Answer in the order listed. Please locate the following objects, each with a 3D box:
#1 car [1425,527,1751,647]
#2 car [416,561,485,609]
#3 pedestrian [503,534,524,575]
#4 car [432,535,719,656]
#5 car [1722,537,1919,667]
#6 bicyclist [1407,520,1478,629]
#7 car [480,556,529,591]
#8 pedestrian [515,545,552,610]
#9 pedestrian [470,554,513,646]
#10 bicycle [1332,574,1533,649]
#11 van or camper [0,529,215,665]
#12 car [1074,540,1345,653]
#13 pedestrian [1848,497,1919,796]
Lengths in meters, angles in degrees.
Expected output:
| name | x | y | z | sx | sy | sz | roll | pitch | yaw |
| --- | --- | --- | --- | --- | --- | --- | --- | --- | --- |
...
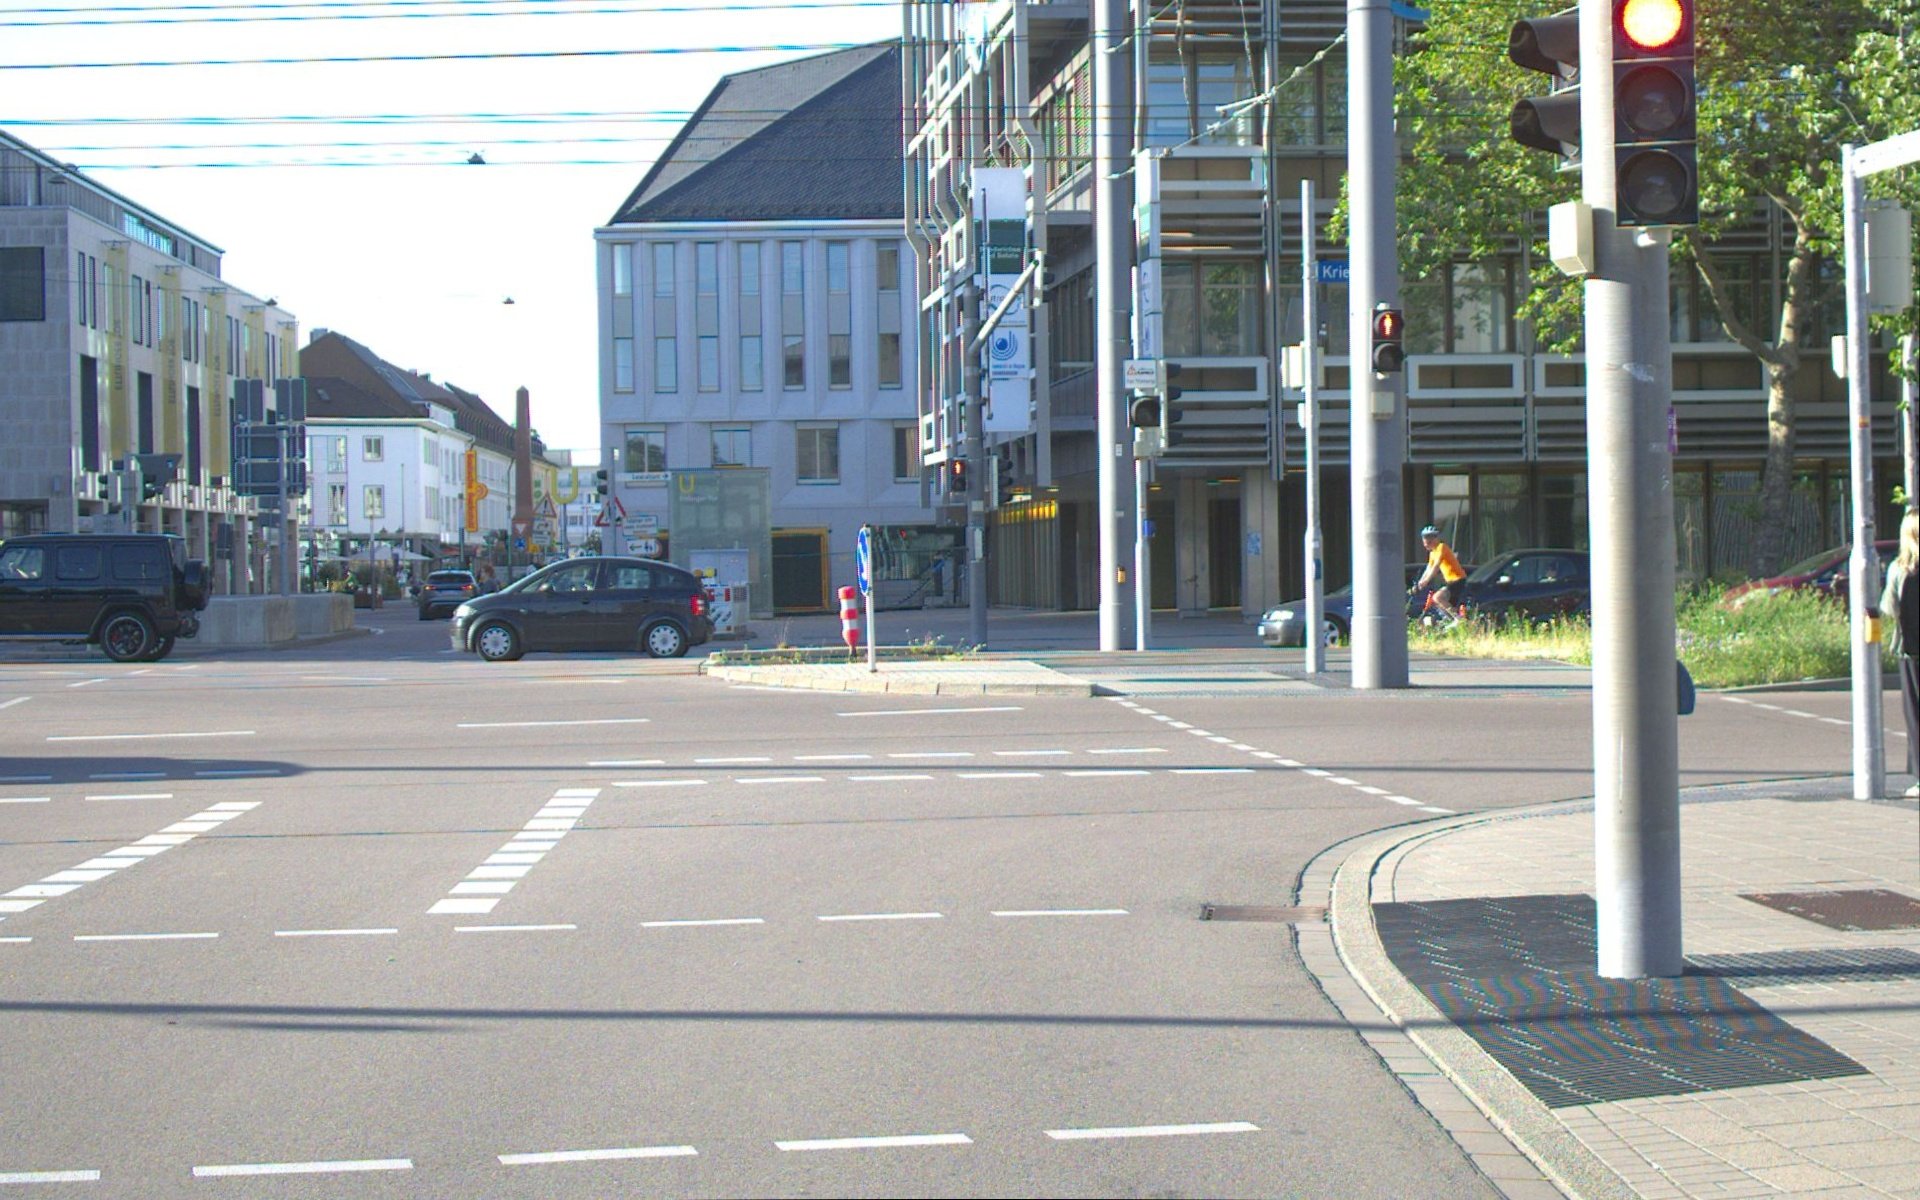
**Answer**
| name | x | y | z | sx | sy | sz | roll | pitch | yaw |
| --- | --- | --- | --- | --- | --- | --- | --- | --- | --- |
| car | 9.213 | -0.205 | 50.617 | 4.403 | 1.678 | 1.826 | -1 | 1 | -3 |
| car | -16.011 | -0.484 | 108.073 | 1.658 | 1.453 | 3.542 | -1 | 1 | -1 |
| pedestrian | -21.383 | -2.162 | 164.680 | 0.910 | 1.958 | 0.823 | 1 | 0 | -1 |
| car | -5.537 | -0.085 | 49.851 | 3.986 | 1.678 | 1.761 | -1 | 1 | -1 |
| car | 12.695 | -0.003 | 46.465 | 4.287 | 1.678 | 1.826 | -1 | 1 | -10 |
| bicyclist | 6.613 | -0.356 | 47.119 | 0.822 | 1.469 | 0.652 | -1 | 1 | -4 |
| car | -19.285 | -1.134 | 145.672 | 1.658 | 1.453 | 3.542 | -1 | 1 | -1 |
| pedestrian | -11.796 | -0.619 | 95.070 | 0.899 | 1.776 | 0.808 | -1 | 1 | -1 |
| pedestrian | -8.705 | -0.004 | 63.897 | 0.700 | 1.682 | 0.619 | -1 | 1 | 0 |
| bicycle | 6.457 | 0.153 | 47.109 | 2.568 | 0.972 | 1.047 | -1 | 1 | -3 |
| van or camper | -13.838 | -0.051 | 52.812 | 4.414 | 2.007 | 1.995 | -1 | 1 | -5 |
| car | 3.847 | -0.071 | 53.435 | 3.986 | 1.678 | 1.826 | -1 | 1 | -3 |
| pedestrian | 5.402 | 0.239 | 18.934 | 0.765 | 1.608 | 0.874 | -1 | 1 | -2 |
